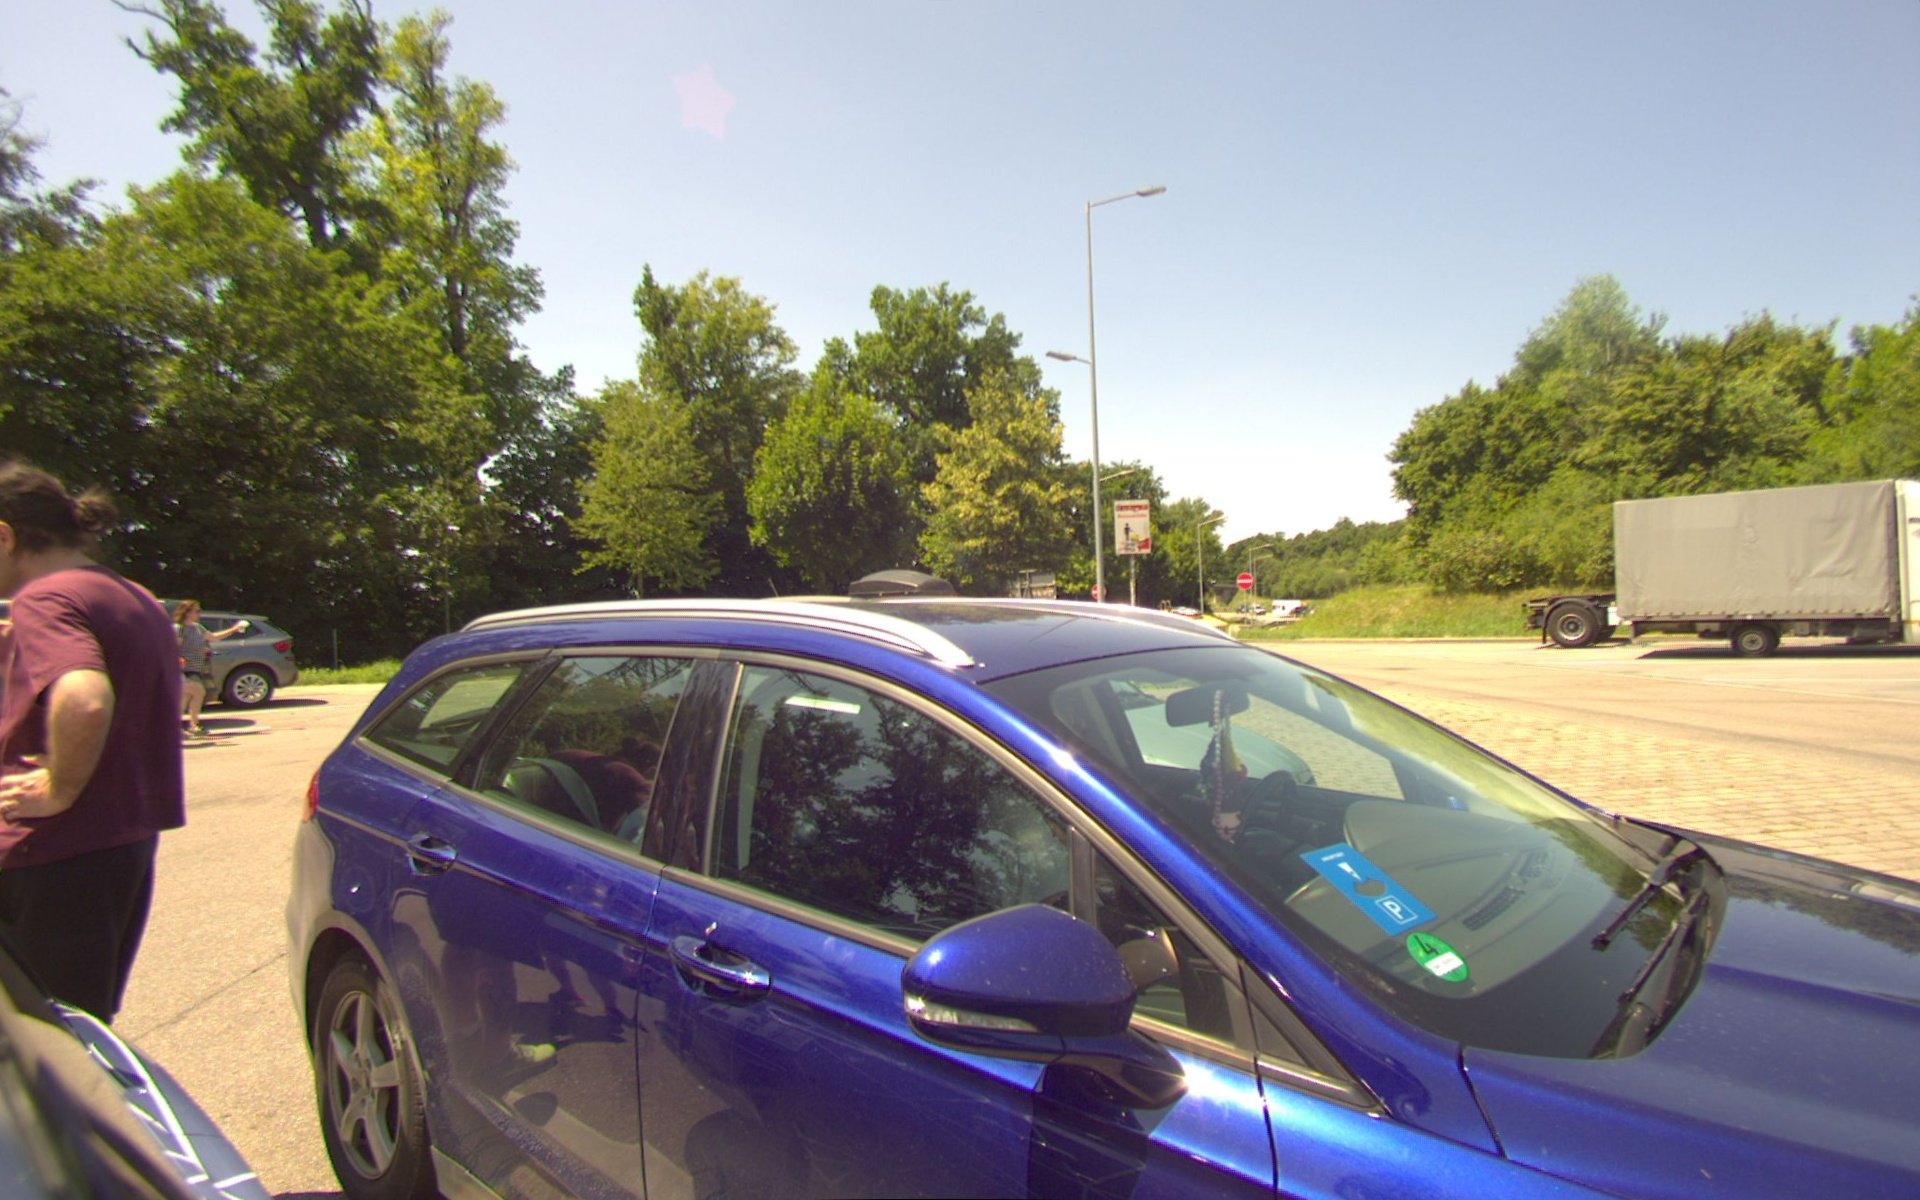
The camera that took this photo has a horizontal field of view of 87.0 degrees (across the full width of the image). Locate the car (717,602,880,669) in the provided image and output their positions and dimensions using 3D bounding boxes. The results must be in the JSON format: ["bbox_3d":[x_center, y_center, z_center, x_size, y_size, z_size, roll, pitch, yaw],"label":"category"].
[{"bbox_3d":[-4.475,0.930,28.738,1.995,1.725,4.563,-1,0,35],"label":"car"}]

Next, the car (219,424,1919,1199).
[{"bbox_3d":[0.257,0.660,2.126,4.490,1.502,1.851,-3,0,40],"label":"car"}]

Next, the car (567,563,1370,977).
[{"bbox_3d":[-0.255,0.694,5.824,4.490,1.511,1.754,-3,-1,40],"label":"car"}]

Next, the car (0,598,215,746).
[{"bbox_3d":[-11.940,0.860,12.287,4.553,1.725,1.741,0,-1,-41],"label":"car"}]

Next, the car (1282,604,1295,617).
[{"bbox_3d":[49.529,1.573,152.608,1.627,2.029,3.983,-1,0,13],"label":"car"}]

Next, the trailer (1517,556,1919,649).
[{"bbox_3d":[17.254,0.124,23.382,7.295,1.701,2.235,-4,-1,43],"label":"trailer"}]

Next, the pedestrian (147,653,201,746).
[{"bbox_3d":[-9.344,1.166,12.040,0.427,1.052,0.441,-1,-1,-28],"label":"pedestrian"}]

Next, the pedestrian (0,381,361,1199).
[{"bbox_3d":[-1.962,0.558,2.155,0.852,1.847,0.861,-1,0,1],"label":"pedestrian"}]

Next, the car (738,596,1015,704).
[{"bbox_3d":[-1.476,0.827,16.845,4.485,1.562,1.756,-3,-1,36],"label":"car"}]

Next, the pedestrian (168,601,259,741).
[{"bbox_3d":[-9.311,0.858,12.658,0.819,1.676,0.678,-1,-1,-28],"label":"pedestrian"}]

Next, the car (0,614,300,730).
[{"bbox_3d":[-12.595,1.005,15.451,1.687,1.515,3.943,-1,0,43],"label":"car"}]

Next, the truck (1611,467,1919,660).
[{"bbox_3d":[16.828,-0.656,18.955,7.295,3.259,2.709,-4,-1,43],"label":"truck"}]

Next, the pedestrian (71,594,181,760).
[{"bbox_3d":[-9.210,0.817,11.206,0.819,1.746,0.678,-1,-1,-28],"label":"pedestrian"}]

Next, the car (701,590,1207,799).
[{"bbox_3d":[-0.242,0.749,9.199,4.490,1.437,1.754,-3,-1,40],"label":"car"}]

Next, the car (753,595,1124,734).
[{"bbox_3d":[-0.383,0.775,12.746,4.485,1.437,1.756,-3,-1,36],"label":"car"}]
